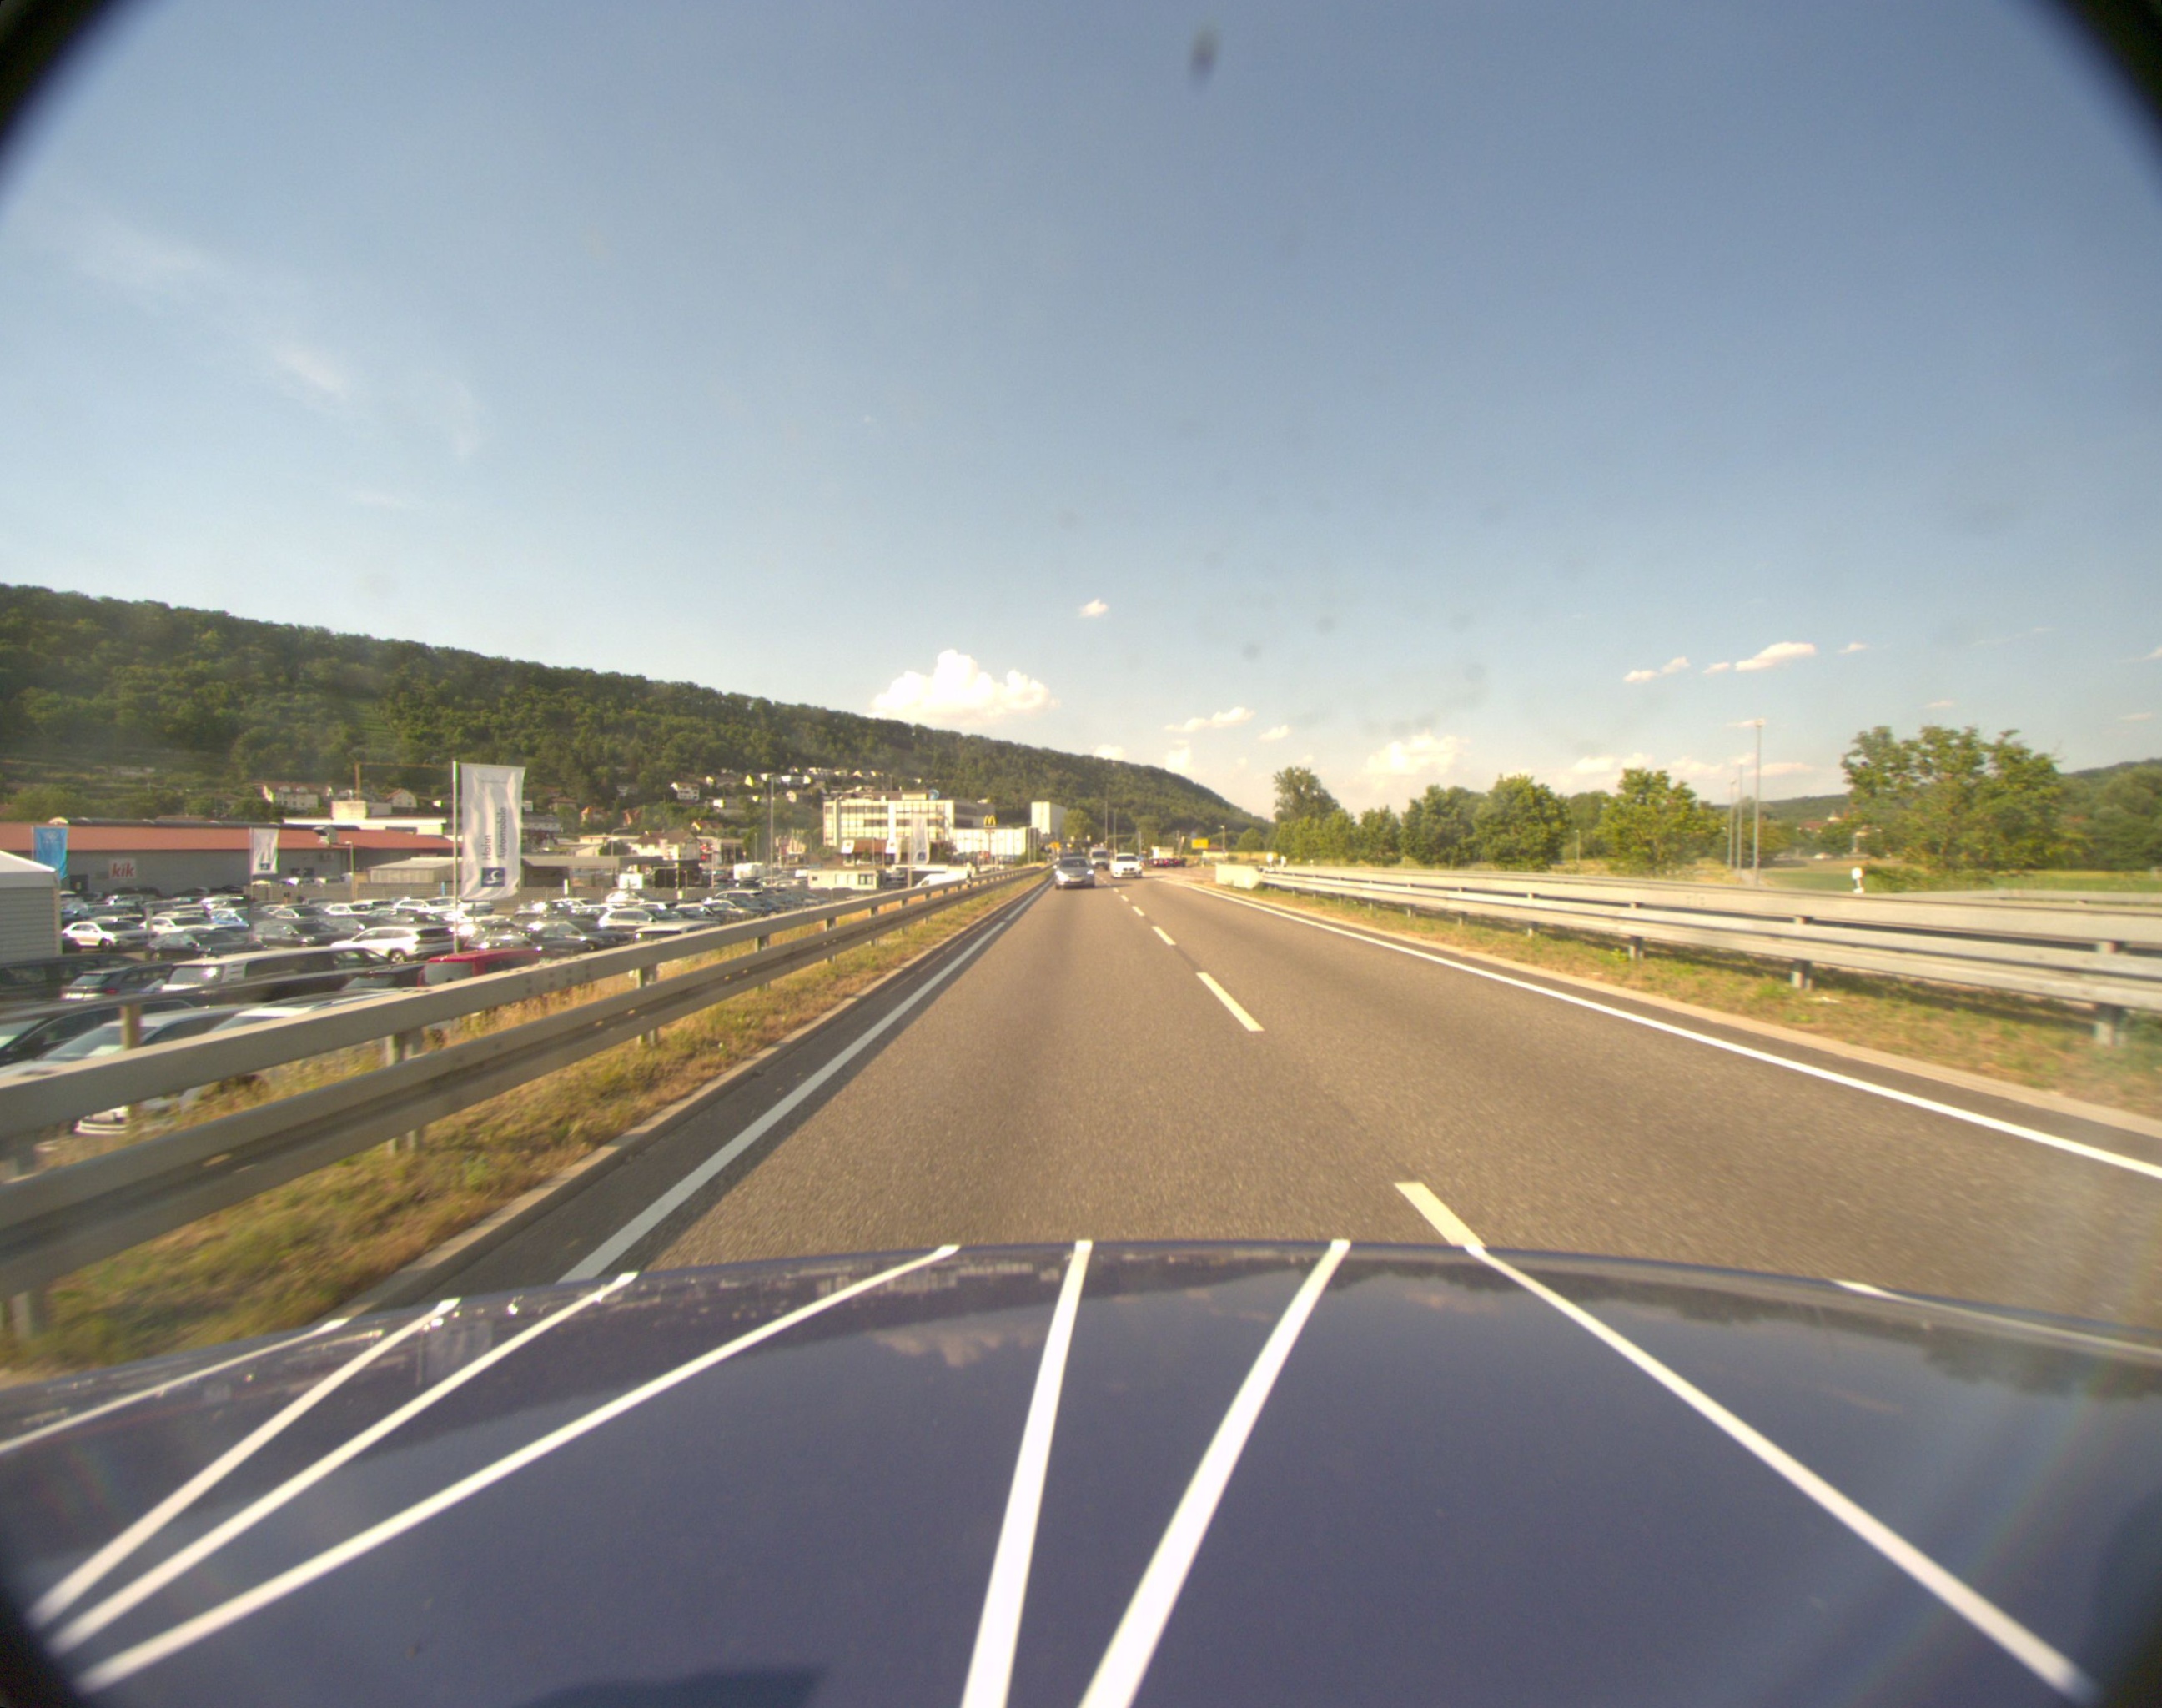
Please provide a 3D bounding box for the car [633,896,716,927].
[{"bbox_3d":[-26.026,3.652,48.697,4.426,1.704,1.801,-2,1,8],"label":"car"}]

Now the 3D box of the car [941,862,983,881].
[{"bbox_3d":[-12.239,1.827,78.306,3.996,1.740,1.901,-2,1,2],"label":"car"}]

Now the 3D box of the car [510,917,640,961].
[{"bbox_3d":[-21.270,3.555,32.006,4.426,1.598,1.802,-2,0,8],"label":"car"}]

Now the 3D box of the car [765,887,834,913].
[{"bbox_3d":[-19.142,3.120,51.799,3.981,1.534,1.787,-2,1,4],"label":"car"}]

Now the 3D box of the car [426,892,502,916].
[{"bbox_3d":[-45.415,3.677,55.932,4.339,1.534,1.801,-2,1,8],"label":"car"}]

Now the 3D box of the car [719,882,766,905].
[{"bbox_3d":[-29.006,3.374,65.258,1.600,1.585,4.286,-2,1,7],"label":"car"}]

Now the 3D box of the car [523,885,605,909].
[{"bbox_3d":[-34.596,2.850,50.899,4.426,1.361,1.801,-2,1,8],"label":"car"}]

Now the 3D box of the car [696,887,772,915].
[{"bbox_3d":[-23.991,3.233,52.605,4.426,1.704,1.801,-2,1,8],"label":"car"}]

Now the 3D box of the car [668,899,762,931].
[{"bbox_3d":[-20.387,3.404,42.401,4.426,1.534,1.801,-2,1,8],"label":"car"}]

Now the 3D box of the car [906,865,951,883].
[{"bbox_3d":[-16.769,2.195,83.742,4.332,1.740,2.131,-2,1,2],"label":"car"}]

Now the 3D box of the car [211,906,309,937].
[{"bbox_3d":[-47.435,3.906,43.923,4.338,1.534,1.802,-2,1,12],"label":"car"}]

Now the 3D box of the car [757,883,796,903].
[{"bbox_3d":[-27.966,3.539,69.964,1.600,1.555,3.892,-2,1,7],"label":"car"}]

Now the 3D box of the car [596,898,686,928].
[{"bbox_3d":[-26.334,3.526,45.567,4.426,1.534,1.801,-2,1,8],"label":"car"}]

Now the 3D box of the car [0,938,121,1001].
[{"bbox_3d":[-31.601,3.460,22.133,1.957,1.456,4.001,-2,1,6],"label":"car"}]

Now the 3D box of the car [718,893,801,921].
[{"bbox_3d":[-19.982,3.291,47.319,4.426,1.534,1.801,-2,1,8],"label":"car"}]

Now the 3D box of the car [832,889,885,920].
[{"bbox_3d":[-14.017,3.173,48.132,1.799,1.534,4.432,-2,1,2],"label":"car"}]

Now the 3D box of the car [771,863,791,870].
[{"bbox_3d":[-66.108,2.825,167.442,3.649,1.412,1.690,-2,1,6],"label":"car"}]

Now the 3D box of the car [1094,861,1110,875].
[{"bbox_3d":[2.340,1.483,83.965,1.690,1.383,3.883,-1,1,1],"label":"car"}]

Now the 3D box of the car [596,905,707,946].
[{"bbox_3d":[-20.811,3.458,36.922,4.426,1.657,1.842,-2,1,8],"label":"car"}]

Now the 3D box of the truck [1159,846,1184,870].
[{"bbox_3d":[14.866,0.644,125.206,2.940,3.669,10.497,2,1,1],"label":"truck"}]

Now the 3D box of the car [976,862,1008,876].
[{"bbox_3d":[-12.151,2.044,103.475,3.996,1.805,1.835,-2,1,2],"label":"car"}]

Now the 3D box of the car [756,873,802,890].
[{"bbox_3d":[-31.515,2.852,79.309,3.996,1.648,1.805,0,1,4],"label":"car"}]

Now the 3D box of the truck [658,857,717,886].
[{"bbox_3d":[-36.870,1.582,71.395,1.998,2.357,5.970,-2,1,4],"label":"truck"}]

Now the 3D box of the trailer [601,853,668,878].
[{"bbox_3d":[-42.104,1.032,71.899,1.998,2.011,6.285,-2,1,6],"label":"trailer"}]

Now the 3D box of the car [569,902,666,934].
[{"bbox_3d":[-26.104,3.615,42.863,4.426,1.534,1.801,-2,1,8],"label":"car"}]

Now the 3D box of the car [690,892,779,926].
[{"bbox_3d":[-20.453,3.229,44.903,4.426,1.704,1.801,-2,1,8],"label":"car"}]

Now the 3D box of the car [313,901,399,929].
[{"bbox_3d":[-46.553,3.908,48.836,4.338,1.534,1.802,-2,1,12],"label":"car"}]

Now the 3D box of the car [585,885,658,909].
[{"bbox_3d":[-33.851,3.142,56.003,4.426,1.534,1.801,-2,1,8],"label":"car"}]

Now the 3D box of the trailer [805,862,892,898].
[{"bbox_3d":[-24.271,2.680,79.529,7.896,3.304,3.359,-2,1,5],"label":"trailer"}]

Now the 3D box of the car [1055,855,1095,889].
[{"bbox_3d":[-0.224,0.786,34.900,1.690,1.383,3.883,-1,1,1],"label":"car"}]

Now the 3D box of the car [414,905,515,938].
[{"bbox_3d":[-34.533,3.760,42.601,4.426,1.534,1.801,-2,1,8],"label":"car"}]

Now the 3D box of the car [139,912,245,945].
[{"bbox_3d":[-48.111,4.016,41.143,4.338,1.534,1.802,-2,1,12],"label":"car"}]

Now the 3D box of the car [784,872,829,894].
[{"bbox_3d":[-25.009,2.662,69.415,1.970,1.691,4.498,-2,1,7],"label":"car"}]
